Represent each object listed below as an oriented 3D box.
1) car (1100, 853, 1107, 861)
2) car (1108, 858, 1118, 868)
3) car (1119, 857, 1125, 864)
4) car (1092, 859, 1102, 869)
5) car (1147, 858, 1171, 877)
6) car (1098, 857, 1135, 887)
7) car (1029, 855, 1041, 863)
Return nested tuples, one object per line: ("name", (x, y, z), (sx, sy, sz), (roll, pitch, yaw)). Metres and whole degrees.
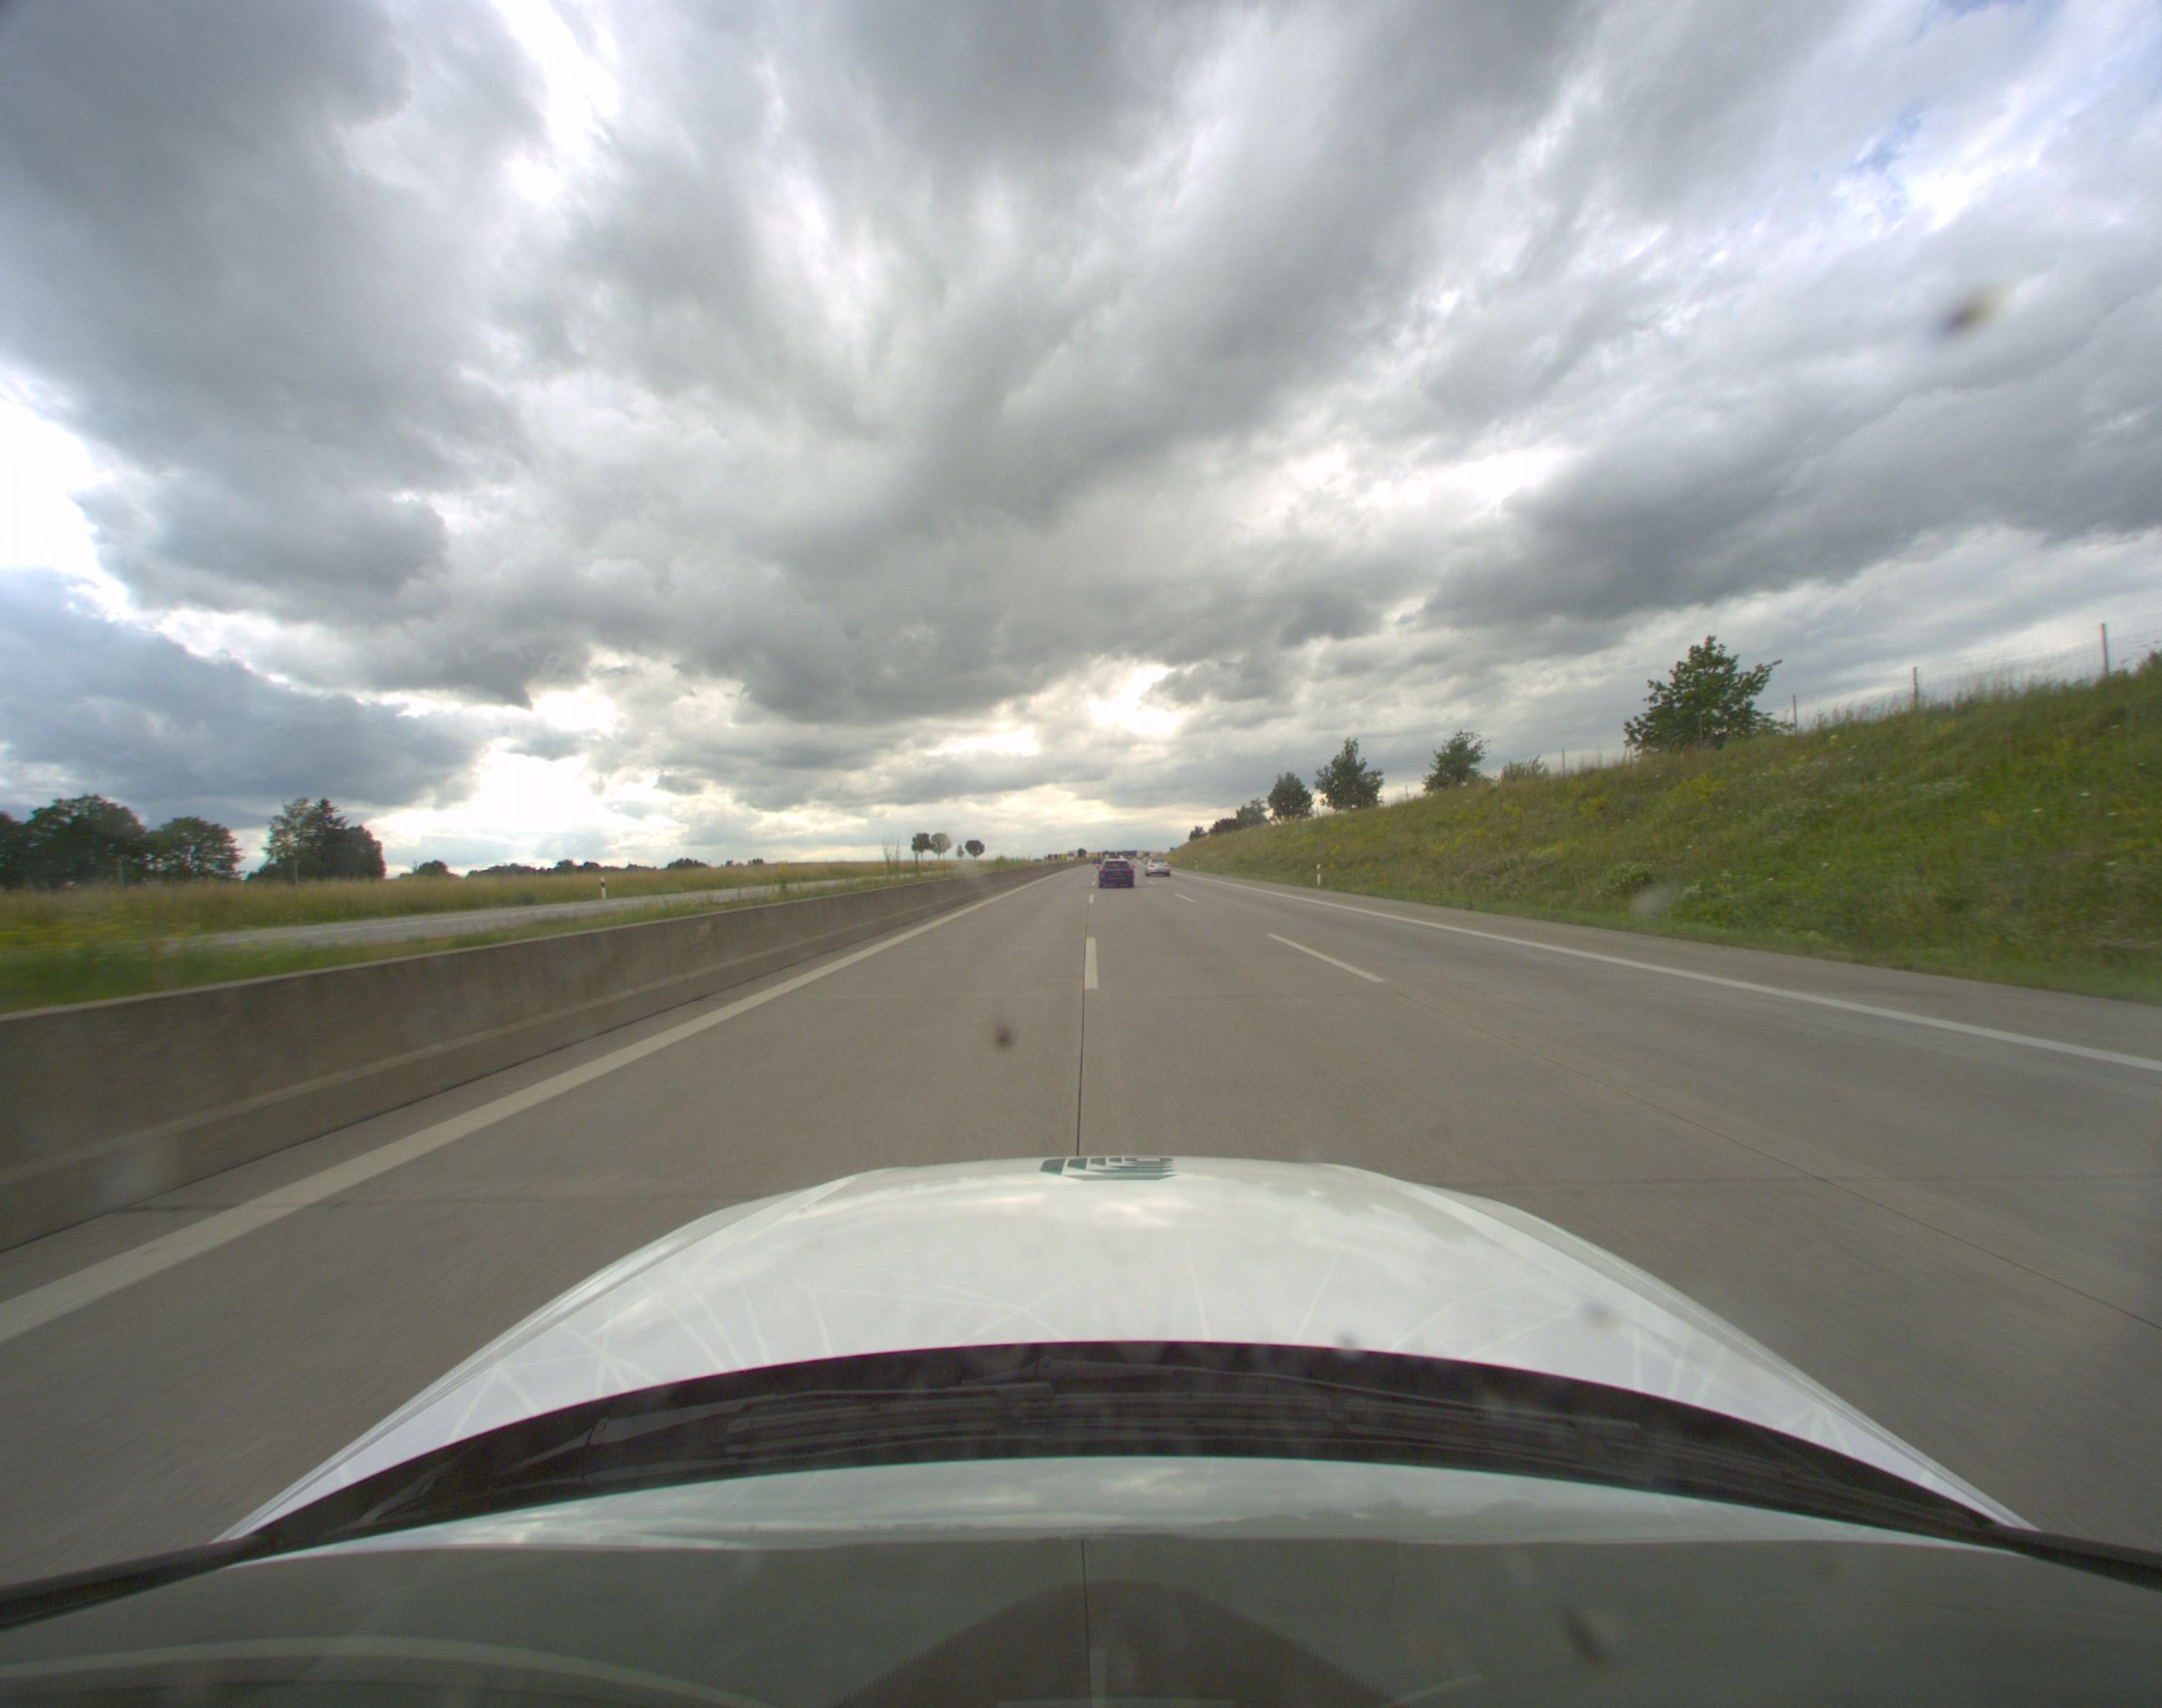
("car", (6.148, 0.864, 223.492), (1.987, 2.014, 3.999), (-1, -1, 0))
("car", (6.618, 1.897, 168.370), (1.987, 2.014, 4.000), (-1, -1, 1))
("car", (13.105, 2.132, 260.640), (1.984, 2.014, 4.005), (-1, -1, 5))
("car", (3.391, 2.005, 169.603), (2.040, 2.014, 3.999), (-1, -1, 0))
("car", (6.062, 1.076, 63.766), (1.780, 1.403, 4.227), (-1, -1, 5))
("car", (1.843, 0.912, 41.671), (1.767, 1.413, 4.003), (-1, -1, 3))
("car", (-9.535, 1.052, 168.001), (1.986, 1.684, 4.065), (-1, 0, 2))
